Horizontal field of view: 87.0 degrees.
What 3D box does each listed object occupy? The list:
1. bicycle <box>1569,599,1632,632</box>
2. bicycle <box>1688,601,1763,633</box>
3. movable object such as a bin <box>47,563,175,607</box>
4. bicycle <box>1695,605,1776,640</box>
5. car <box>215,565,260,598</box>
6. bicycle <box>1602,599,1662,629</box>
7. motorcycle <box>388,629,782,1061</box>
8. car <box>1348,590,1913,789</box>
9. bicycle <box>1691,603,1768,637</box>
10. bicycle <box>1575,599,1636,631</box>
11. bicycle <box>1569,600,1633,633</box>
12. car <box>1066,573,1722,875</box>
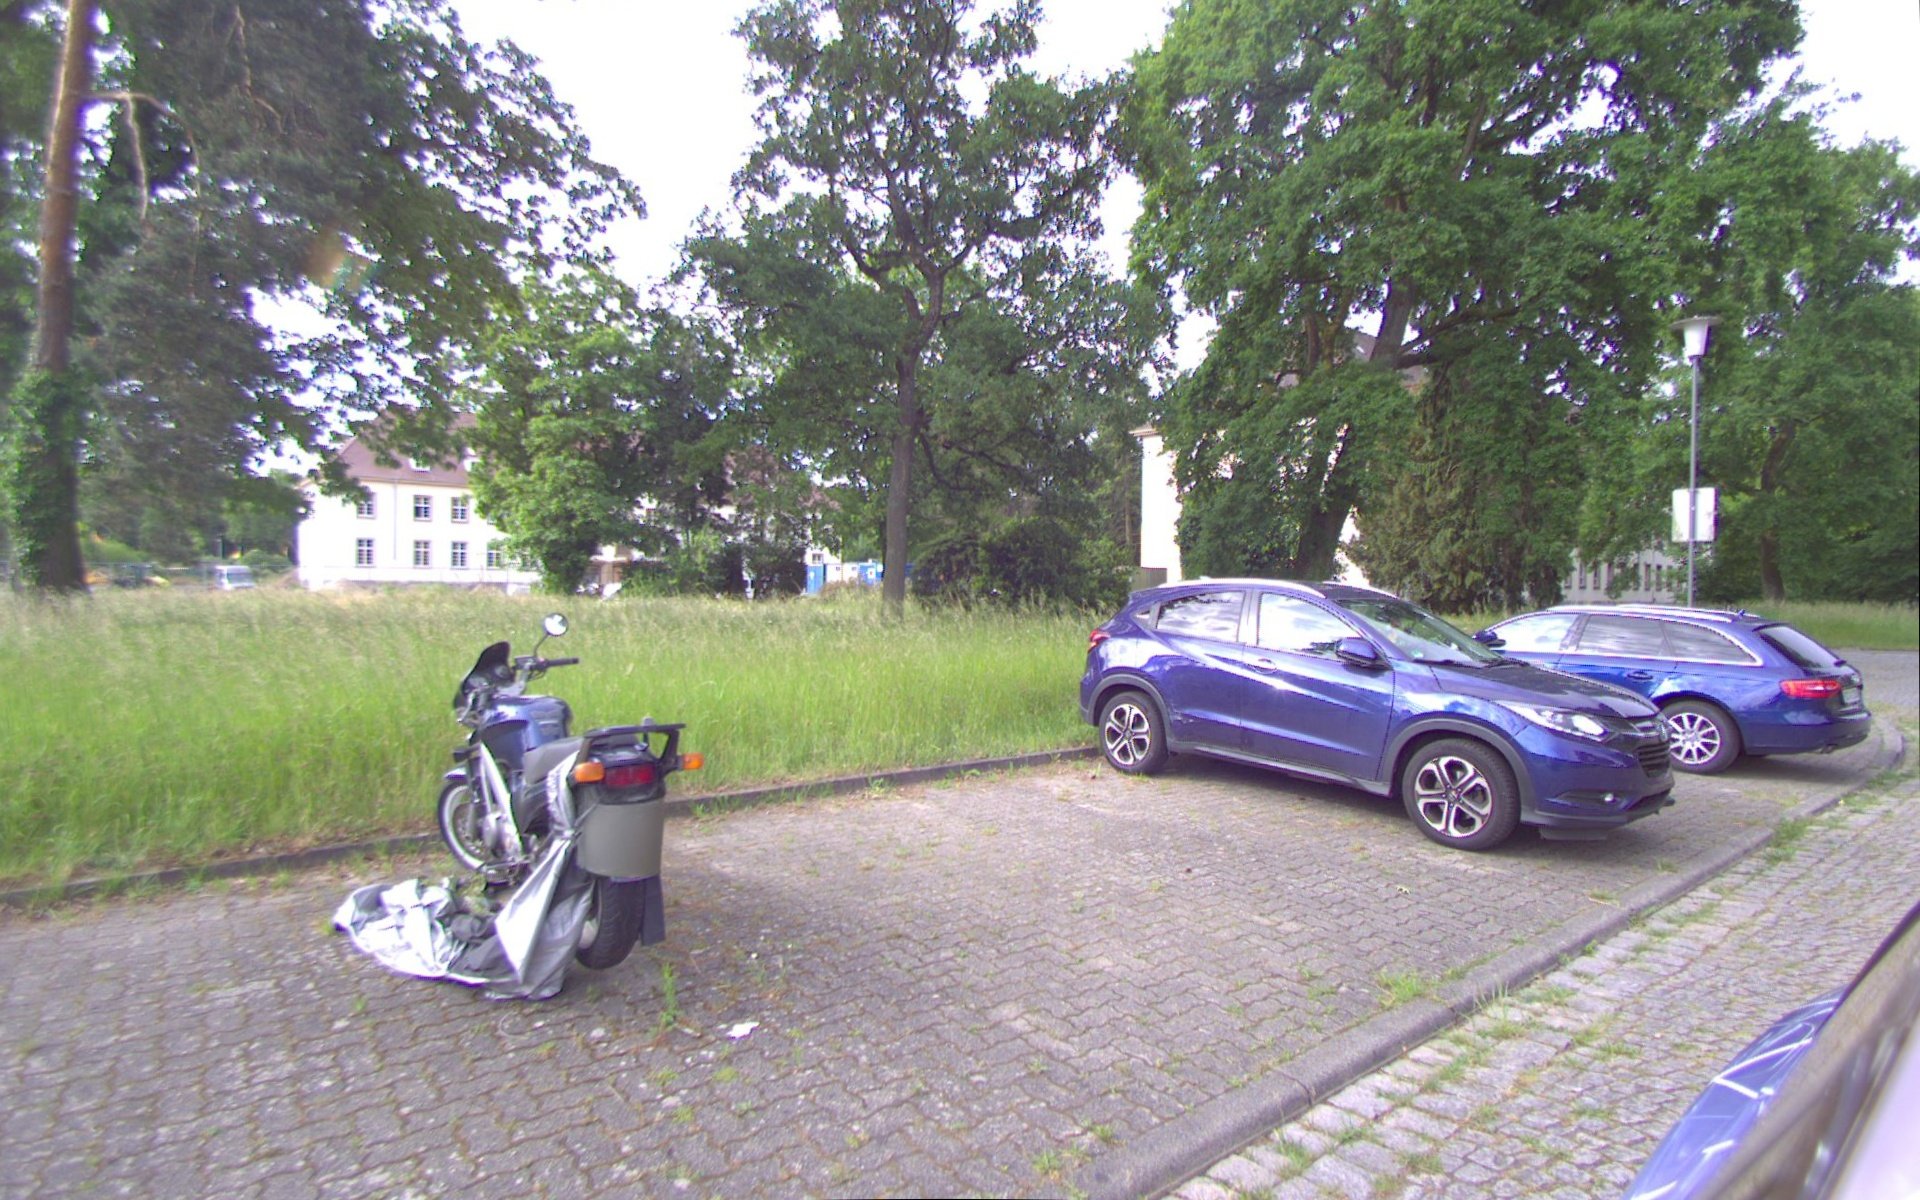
[{"bbox_3d":[22.859,0.556,36.139,1.840,1.137,0.616,0,0,28],"label":"bicycle"},{"bbox_3d":[26.895,0.583,35.581,2.011,1.090,0.616,0,0,28],"label":"bicycle"},{"bbox_3d":[-53.735,-0.928,64.185,5.852,2.688,2.180,0,0,-15],"label":"movable object such as a bin"},{"bbox_3d":[24.800,0.699,32.407,1.952,1.090,0.583,0,0,24],"label":"bicycle"},{"bbox_3d":[-54.028,-1.382,75.672,4.581,2.377,1.888,0,0,43],"label":"car"},{"bbox_3d":[25.686,0.518,38.703,1.840,1.137,0.616,0,0,28],"label":"bicycle"},{"bbox_3d":[-1.712,0.797,4.290,0.781,1.200,2.331,0,2,-41],"label":"motorcycle"},{"bbox_3d":[6.515,0.696,10.384,1.751,1.439,4.485,0,2,-36],"label":"car"},{"bbox_3d":[25.669,0.650,33.805,1.952,1.090,0.583,0,0,24],"label":"bicycle"},{"bbox_3d":[23.885,0.543,37.464,1.840,1.137,0.616,0,0,28],"label":"bicycle"},{"bbox_3d":[22.525,0.561,35.598,1.840,1.137,0.616,0,0,28],"label":"bicycle"},{"bbox_3d":[2.881,0.600,7.542,1.761,1.591,4.172,-1,2,-39],"label":"car"}]
